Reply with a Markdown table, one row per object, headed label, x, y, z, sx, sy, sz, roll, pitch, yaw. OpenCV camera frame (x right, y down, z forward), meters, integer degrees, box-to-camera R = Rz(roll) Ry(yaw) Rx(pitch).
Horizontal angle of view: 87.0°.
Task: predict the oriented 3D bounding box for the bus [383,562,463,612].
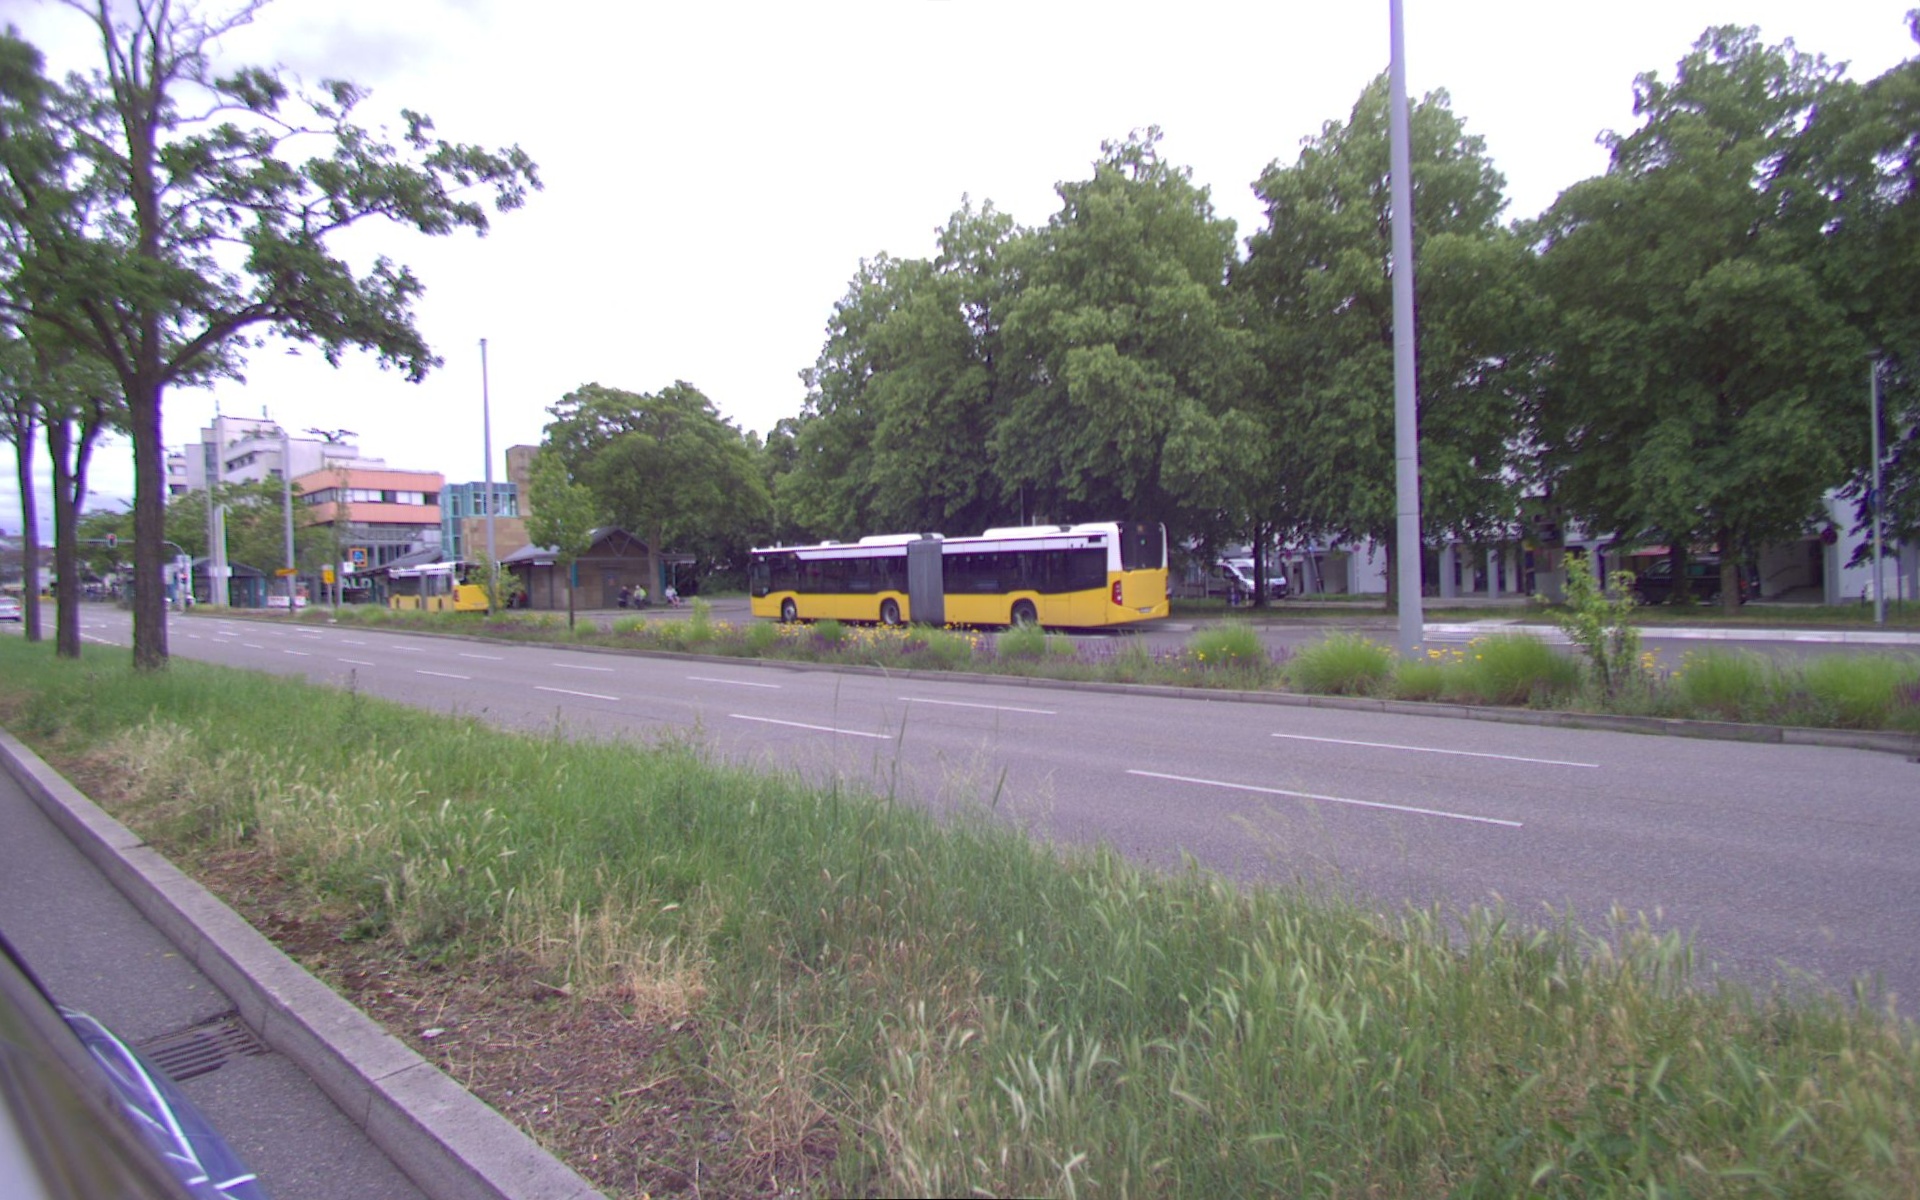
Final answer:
| label | x | y | z | sx | sy | sz | roll | pitch | yaw |
| --- | --- | --- | --- | --- | --- | --- | --- | --- | --- |
| bus | -35.126 | -0.787 | 66.007 | 2.846 | 3.025 | 9.192 | -1 | 1 | -39 |

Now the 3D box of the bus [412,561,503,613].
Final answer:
| label | x | y | z | sx | sy | sz | roll | pitch | yaw |
| --- | --- | --- | --- | --- | --- | --- | --- | --- | --- |
| bus | -29.500 | -0.716 | 59.200 | 2.845 | 2.830 | 9.193 | -1 | 1 | -39 |

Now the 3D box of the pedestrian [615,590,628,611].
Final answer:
| label | x | y | z | sx | sy | sz | roll | pitch | yaw |
| --- | --- | --- | --- | --- | --- | --- | --- | --- | --- |
| pedestrian | -18.642 | 0.034 | 55.751 | 0.589 | 1.171 | 0.745 | 0 | 0 | -28 |

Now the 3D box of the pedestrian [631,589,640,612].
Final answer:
| label | x | y | z | sx | sy | sz | roll | pitch | yaw |
| --- | --- | --- | --- | --- | --- | --- | --- | --- | --- |
| pedestrian | -17.342 | 0.026 | 54.131 | 0.361 | 1.175 | 0.900 | 0 | 0 | -23 |

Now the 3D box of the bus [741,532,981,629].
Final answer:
| label | x | y | z | sx | sy | sz | roll | pitch | yaw |
| --- | --- | --- | --- | --- | --- | --- | --- | --- | --- |
| bus | -3.917 | -0.619 | 36.625 | 2.848 | 3.025 | 10.402 | -1 | 1 | -43 |

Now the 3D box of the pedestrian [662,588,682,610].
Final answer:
| label | x | y | z | sx | sy | sz | roll | pitch | yaw |
| --- | --- | --- | --- | --- | --- | --- | --- | --- | --- |
| pedestrian | -15.632 | -0.055 | 54.841 | 0.925 | 1.180 | 0.641 | 0 | 1 | 41 |

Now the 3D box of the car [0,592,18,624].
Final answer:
| label | x | y | z | sx | sy | sz | roll | pitch | yaw |
| --- | --- | --- | --- | --- | --- | --- | --- | --- | --- |
| car | -63.709 | 0.548 | 67.003 | 4.001 | 2.029 | 1.703 | 0 | 1 | 44 |

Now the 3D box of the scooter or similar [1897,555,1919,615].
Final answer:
| label | x | y | z | sx | sy | sz | roll | pitch | yaw |
| --- | --- | --- | --- | --- | --- | --- | --- | --- | --- |
| scooter or similar | 27.326 | -0.436 | 28.065 | 1.840 | 1.676 | 0.647 | -1 | 0 | 29 |

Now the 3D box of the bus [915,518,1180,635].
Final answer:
| label | x | y | z | sx | sy | sz | roll | pitch | yaw |
| --- | --- | --- | --- | --- | --- | --- | --- | --- | --- |
| bus | 2.353 | -0.614 | 29.967 | 2.848 | 3.025 | 7.890 | -1 | 1 | -44 |

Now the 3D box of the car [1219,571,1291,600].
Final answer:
| label | x | y | z | sx | sy | sz | roll | pitch | yaw |
| --- | --- | --- | --- | --- | --- | --- | --- | --- | --- |
| car | 17.747 | -0.857 | 61.062 | 1.751 | 1.652 | 4.012 | -1 | 0 | -31 |

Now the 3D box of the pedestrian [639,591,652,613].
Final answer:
| label | x | y | z | sx | sy | sz | roll | pitch | yaw |
| --- | --- | --- | --- | --- | --- | --- | --- | --- | --- |
| pedestrian | -16.849 | 0.104 | 54.264 | 0.589 | 1.171 | 0.745 | 0 | 0 | -23 |

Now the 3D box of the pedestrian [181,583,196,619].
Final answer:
| label | x | y | z | sx | sy | sz | roll | pitch | yaw |
| --- | --- | --- | --- | --- | --- | --- | --- | --- | --- |
| pedestrian | -61.991 | 0.065 | 81.290 | 0.889 | 2.809 | 1.150 | -1 | 0 | -36 |

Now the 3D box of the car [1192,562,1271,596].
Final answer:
| label | x | y | z | sx | sy | sz | roll | pitch | yaw |
| --- | --- | --- | --- | --- | --- | --- | --- | --- | --- |
| car | 14.602 | -1.090 | 54.632 | 1.663 | 1.763 | 4.010 | -1 | 1 | -35 |

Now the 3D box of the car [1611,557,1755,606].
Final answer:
| label | x | y | z | sx | sy | sz | roll | pitch | yaw |
| --- | --- | --- | --- | --- | --- | --- | --- | --- | --- |
| car | 29.258 | -0.720 | 41.105 | 1.758 | 1.861 | 4.429 | -1 | 1 | -34 |
